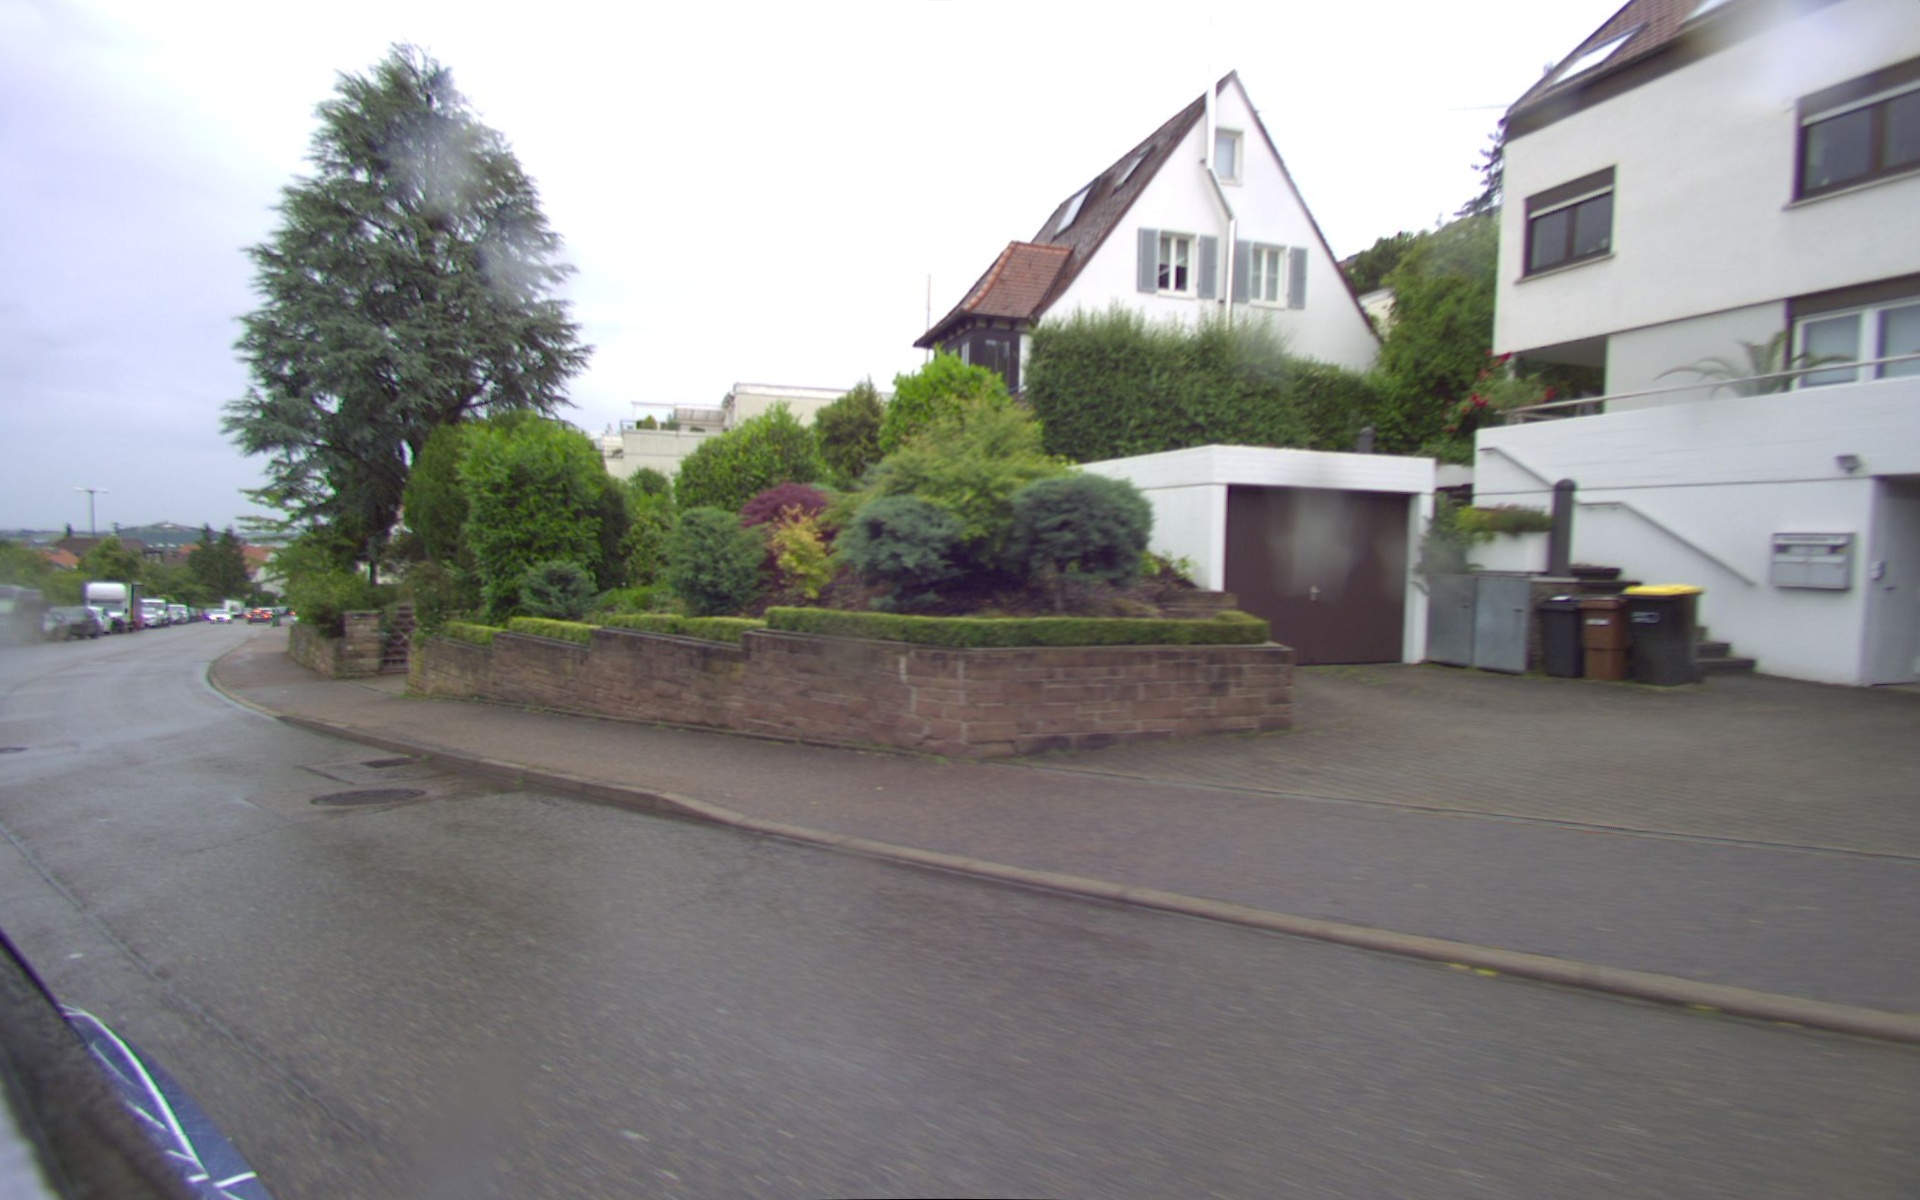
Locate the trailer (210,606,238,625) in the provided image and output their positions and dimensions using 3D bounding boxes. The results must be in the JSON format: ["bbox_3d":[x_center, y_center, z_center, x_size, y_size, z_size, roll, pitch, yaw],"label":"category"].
[{"bbox_3d":[-98.232,2.017,135.134,1.921,2.475,5.452,1,-1,-24],"label":"trailer"}]

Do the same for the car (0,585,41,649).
[{"bbox_3d":[-39.889,0.678,41.728,2.003,2.524,5.972,1,-1,-33],"label":"car"}]

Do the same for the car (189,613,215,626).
[{"bbox_3d":[-93.539,2.414,124.962,1.768,1.470,4.804,1,-1,-28],"label":"car"}]

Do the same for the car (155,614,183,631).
[{"bbox_3d":[-74.692,2.125,95.603,1.625,1.575,3.975,1,-1,-32],"label":"car"}]

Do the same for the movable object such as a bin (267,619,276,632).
[{"bbox_3d":[-58.098,2.164,85.356,0.594,1.072,0.700,-1,0,-37],"label":"movable object such as a bin"}]

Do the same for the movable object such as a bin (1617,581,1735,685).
[{"bbox_3d":[7.786,0.342,11.020,0.803,1.060,0.703,-1,0,-22],"label":"movable object such as a bin"}]

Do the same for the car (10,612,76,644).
[{"bbox_3d":[-43.147,1.276,47.694,1.567,1.440,3.808,1,-1,-31],"label":"car"}]

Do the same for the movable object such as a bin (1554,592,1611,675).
[{"bbox_3d":[7.224,0.380,11.745,0.497,0.936,0.319,-1,0,-22],"label":"movable object such as a bin"}]

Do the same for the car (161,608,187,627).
[{"bbox_3d":[-78.585,1.747,101.228,1.824,1.896,4.923,1,-1,-36],"label":"car"}]

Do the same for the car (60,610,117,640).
[{"bbox_3d":[-52.010,1.437,60.489,1.821,1.696,5.654,1,-1,-33],"label":"car"}]

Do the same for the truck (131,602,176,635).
[{"bbox_3d":[-68.644,1.532,86.193,2.208,2.651,6.557,1,-1,-32],"label":"truck"}]

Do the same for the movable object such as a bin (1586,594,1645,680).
[{"bbox_3d":[7.404,0.413,11.431,0.497,0.936,0.319,-1,0,-22],"label":"movable object such as a bin"}]

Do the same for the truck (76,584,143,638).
[{"bbox_3d":[-56.304,0.706,67.118,2.403,3.360,7.987,1,-1,-33],"label":"truck"}]

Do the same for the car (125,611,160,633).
[{"bbox_3d":[-64.117,1.731,79.436,1.735,1.616,4.679,1,-1,-34],"label":"car"}]

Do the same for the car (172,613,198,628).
[{"bbox_3d":[-84.876,2.215,110.925,1.791,1.518,4.738,1,-1,-32],"label":"car"}]

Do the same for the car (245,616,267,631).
[{"bbox_3d":[-71.014,2.368,102.113,1.750,1.448,4.373,3,-3,-34],"label":"car"}]

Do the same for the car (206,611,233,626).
[{"bbox_3d":[-77.145,1.888,105.510,1.790,1.518,4.738,1,-1,-30],"label":"car"}]

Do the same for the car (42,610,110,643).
[{"bbox_3d":[-46.682,1.361,53.557,1.909,1.684,4.708,1,-1,-31],"label":"car"}]

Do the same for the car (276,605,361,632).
[{"bbox_3d":[-48.123,1.394,76.049,5.014,1.959,2.148,1,-1,-17],"label":"car"}]

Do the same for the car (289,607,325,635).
[{"bbox_3d":[-43.112,1.379,66.886,1.666,1.599,4.209,-7,3,-30],"label":"car"}]
